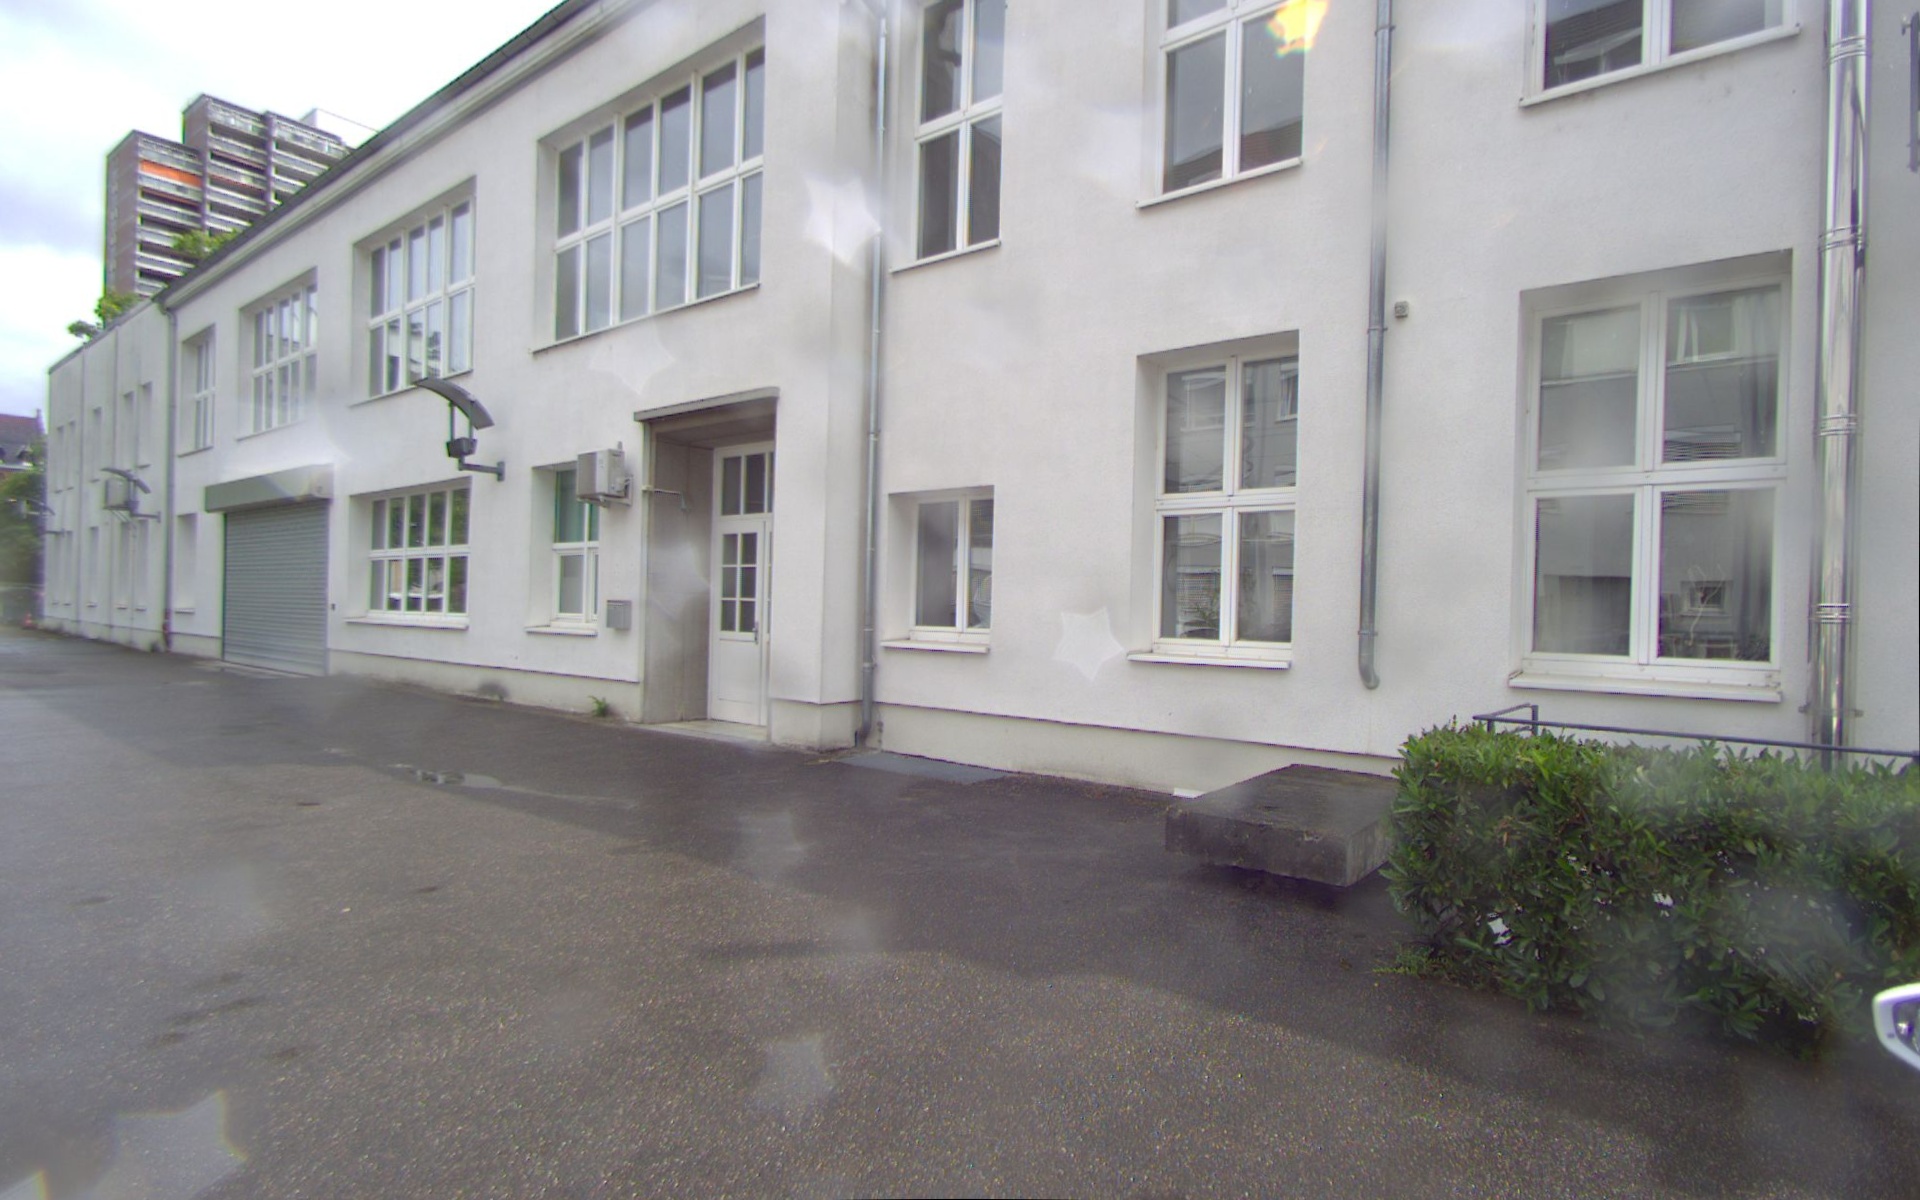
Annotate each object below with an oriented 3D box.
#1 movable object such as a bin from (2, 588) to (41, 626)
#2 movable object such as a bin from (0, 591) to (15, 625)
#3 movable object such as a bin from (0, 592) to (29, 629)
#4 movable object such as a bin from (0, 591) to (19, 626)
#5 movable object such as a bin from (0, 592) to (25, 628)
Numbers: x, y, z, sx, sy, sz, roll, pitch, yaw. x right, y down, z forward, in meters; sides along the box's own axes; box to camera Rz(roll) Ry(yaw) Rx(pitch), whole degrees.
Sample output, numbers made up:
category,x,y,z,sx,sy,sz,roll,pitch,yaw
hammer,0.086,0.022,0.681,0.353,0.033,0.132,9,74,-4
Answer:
category,x,y,z,sx,sy,sz,roll,pitch,yaw
movable object such as a bin,-34.770,0.245,37.220,0.906,1.374,0.973,2,0,42
movable object such as a bin,-39.356,0.312,40.987,1.246,1.374,1.061,2,0,43
movable object such as a bin,-36.162,0.405,38.160,1.190,1.374,1.040,2,0,43
movable object such as a bin,-38.348,0.341,40.086,1.246,1.374,1.061,2,0,43
movable object such as a bin,-37.159,0.376,39.081,1.201,1.374,1.057,2,0,43
